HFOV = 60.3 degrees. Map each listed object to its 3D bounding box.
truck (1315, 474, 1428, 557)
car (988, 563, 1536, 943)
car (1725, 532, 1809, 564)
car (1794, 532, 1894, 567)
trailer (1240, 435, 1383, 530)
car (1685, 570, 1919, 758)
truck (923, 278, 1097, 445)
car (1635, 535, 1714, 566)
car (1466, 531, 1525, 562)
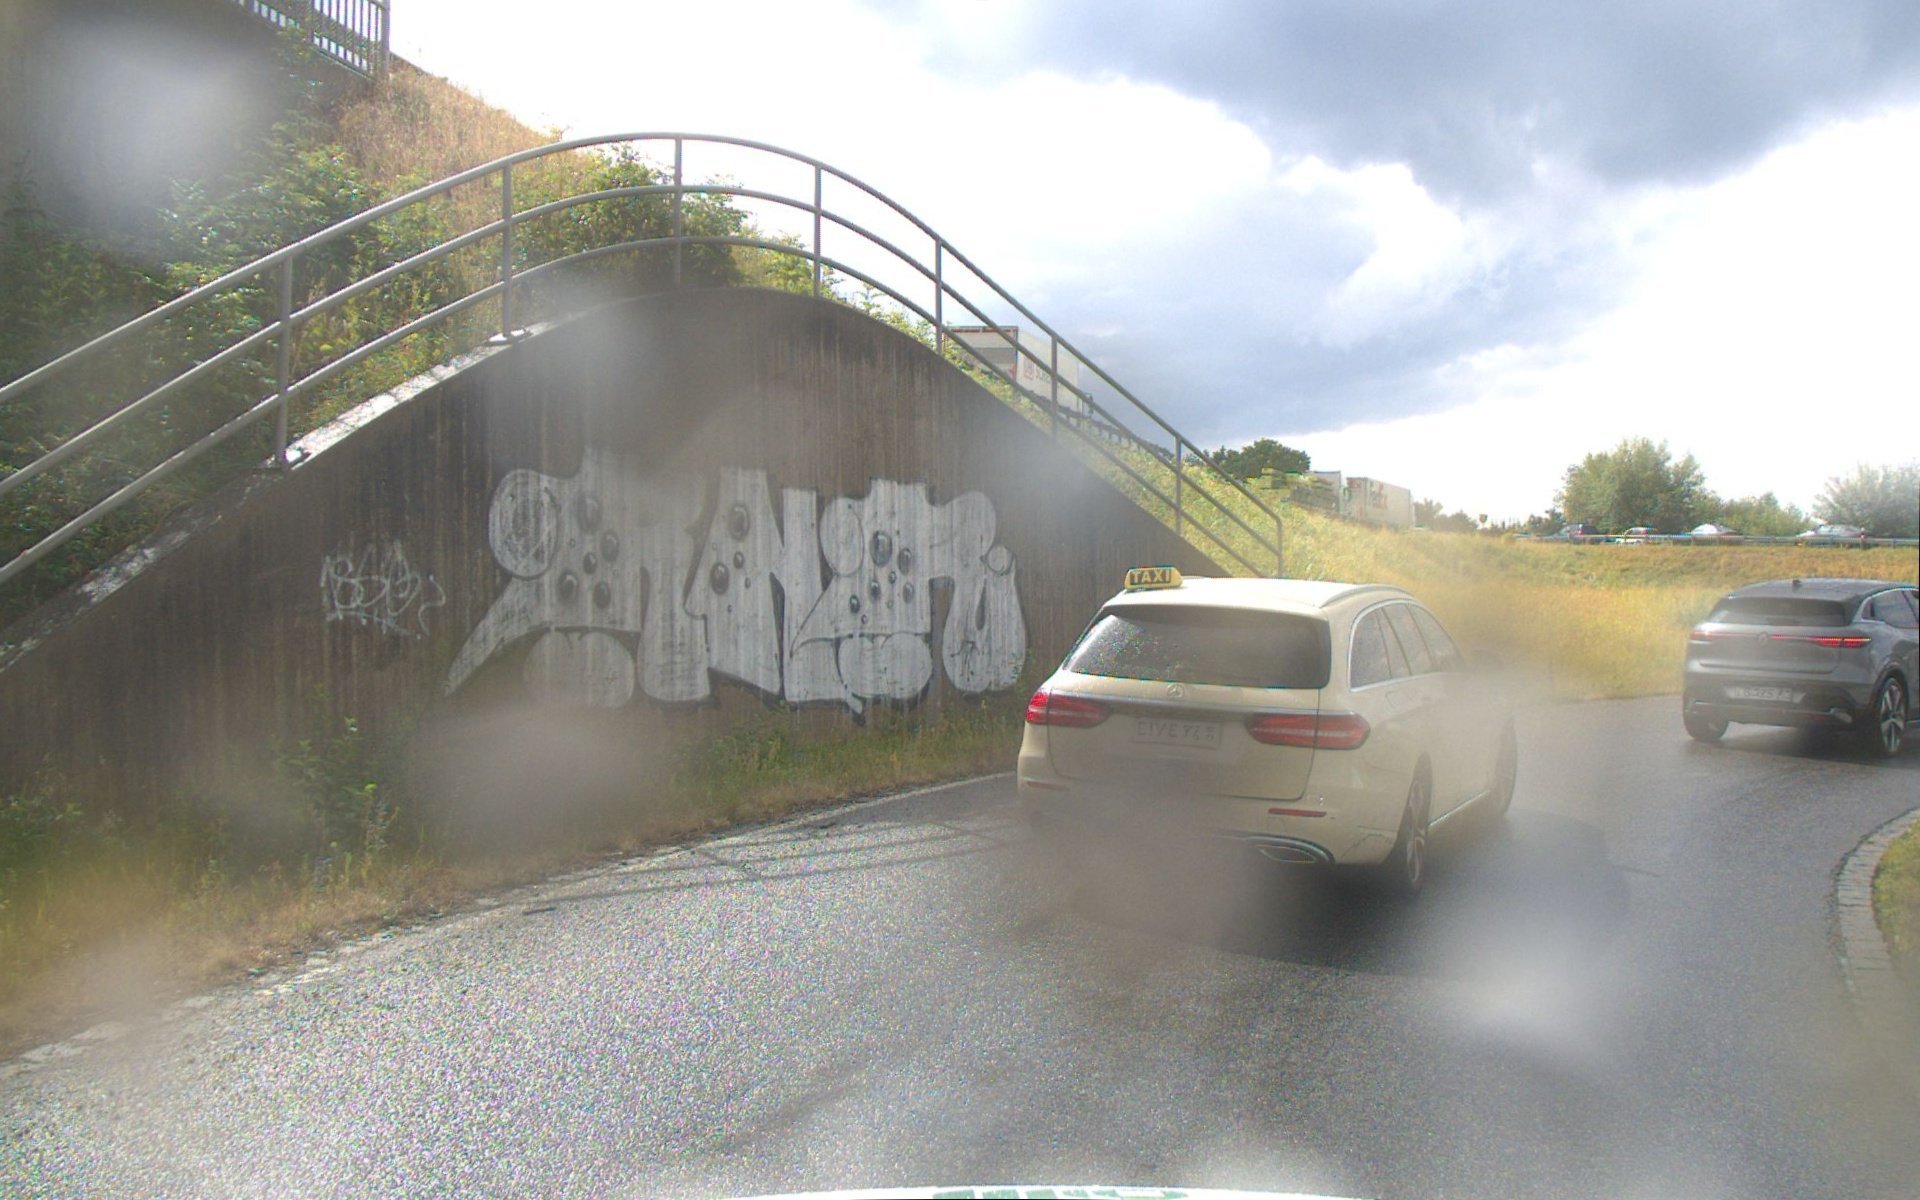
[{"bbox_3d":[30.487,-5.984,121.457,4.372,4.582,19.361,1,-1,25],"label":"truck"},{"bbox_3d":[1.948,0.583,9.167,1.878,1.533,4.593,1,1,25],"label":"car"},{"bbox_3d":[51.134,-3.269,104.849,1.980,1.894,4.448,0,0,-39],"label":"car"},{"bbox_3d":[52.977,-3.013,99.197,1.973,1.894,5.004,0,0,-31],"label":"car"},{"bbox_3d":[22.389,-7.075,103.723,4.326,4.025,20.202,1,-1,25],"label":"trailer"},{"bbox_3d":[8.528,0.500,15.756,1.695,1.551,3.972,1,2,44],"label":"car"},{"bbox_3d":[1.868,-7.749,55.391,3.114,4.036,9.239,1,-1,19],"label":"truck"},{"bbox_3d":[48.759,-3.366,112.992,1.966,1.894,5.022,0,0,-23],"label":"car"},{"bbox_3d":[37.810,-3.774,116.804,3.904,2.049,1.827,2,-1,20],"label":"car"}]
